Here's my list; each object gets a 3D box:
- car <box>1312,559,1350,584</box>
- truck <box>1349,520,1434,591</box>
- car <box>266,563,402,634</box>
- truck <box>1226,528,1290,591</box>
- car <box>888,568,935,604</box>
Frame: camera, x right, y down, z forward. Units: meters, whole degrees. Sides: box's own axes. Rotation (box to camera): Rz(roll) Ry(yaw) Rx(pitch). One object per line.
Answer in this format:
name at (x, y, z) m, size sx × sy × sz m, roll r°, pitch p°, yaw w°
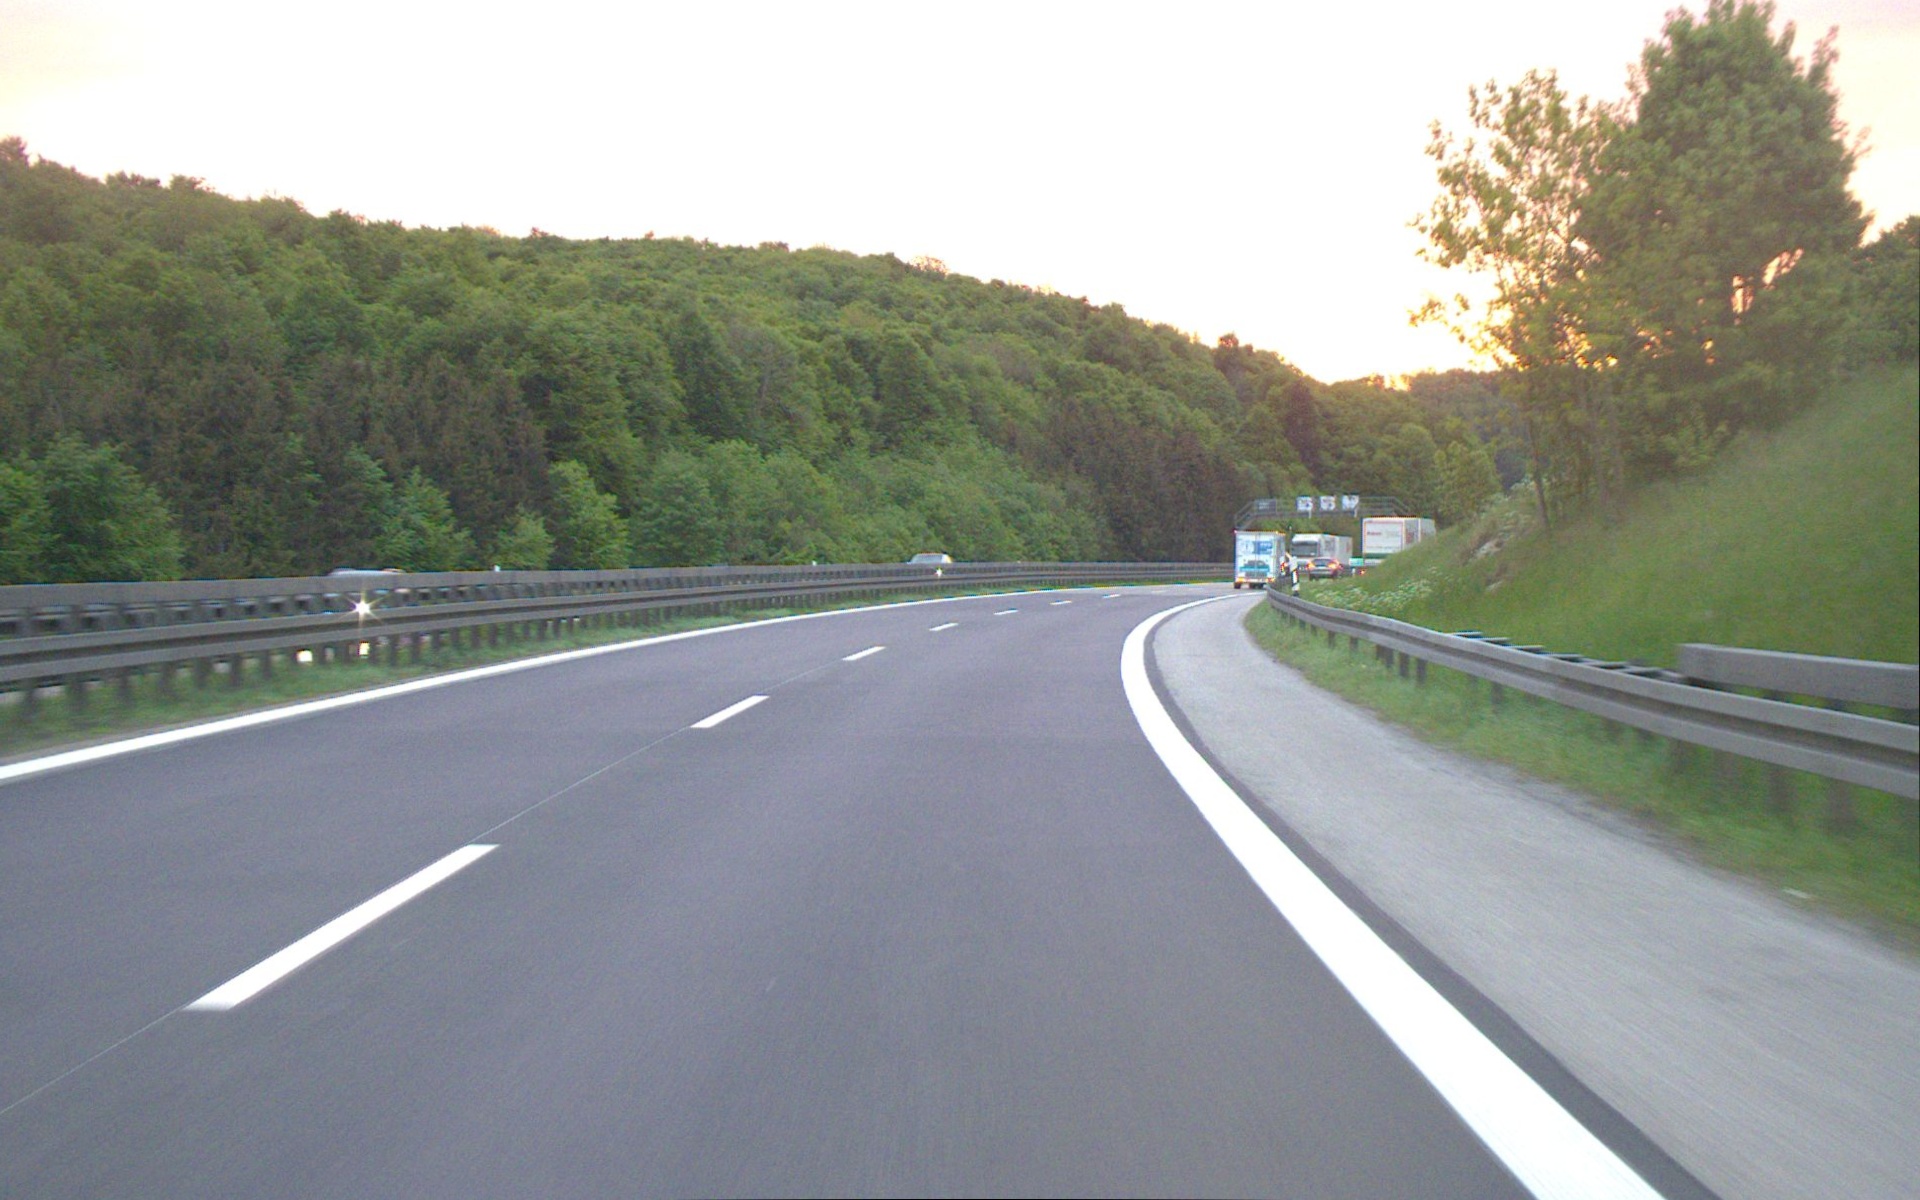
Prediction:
car at (23.243, -1.781, 215.488) m, size 1.994 × 1.512 × 3.998 m, roll 0°, pitch 1°, yaw 12°
truck at (27.283, -2.841, 216.825) m, size 3.960 × 4.272 × 14.316 m, roll -1°, pitch 1°, yaw 12°
car at (-13.435, -0.059, 74.041) m, size 1.798 × 1.437 × 4.678 m, roll -1°, pitch 1°, yaw 4°
truck at (13.702, -1.875, 157.797) m, size 2.277 × 2.656 × 5.234 m, roll -1°, pitch 2°, yaw 11°
car at (-2.243, -0.651, 160.362) m, size 1.753 × 1.634 × 4.477 m, roll -1°, pitch 1°, yaw 5°
